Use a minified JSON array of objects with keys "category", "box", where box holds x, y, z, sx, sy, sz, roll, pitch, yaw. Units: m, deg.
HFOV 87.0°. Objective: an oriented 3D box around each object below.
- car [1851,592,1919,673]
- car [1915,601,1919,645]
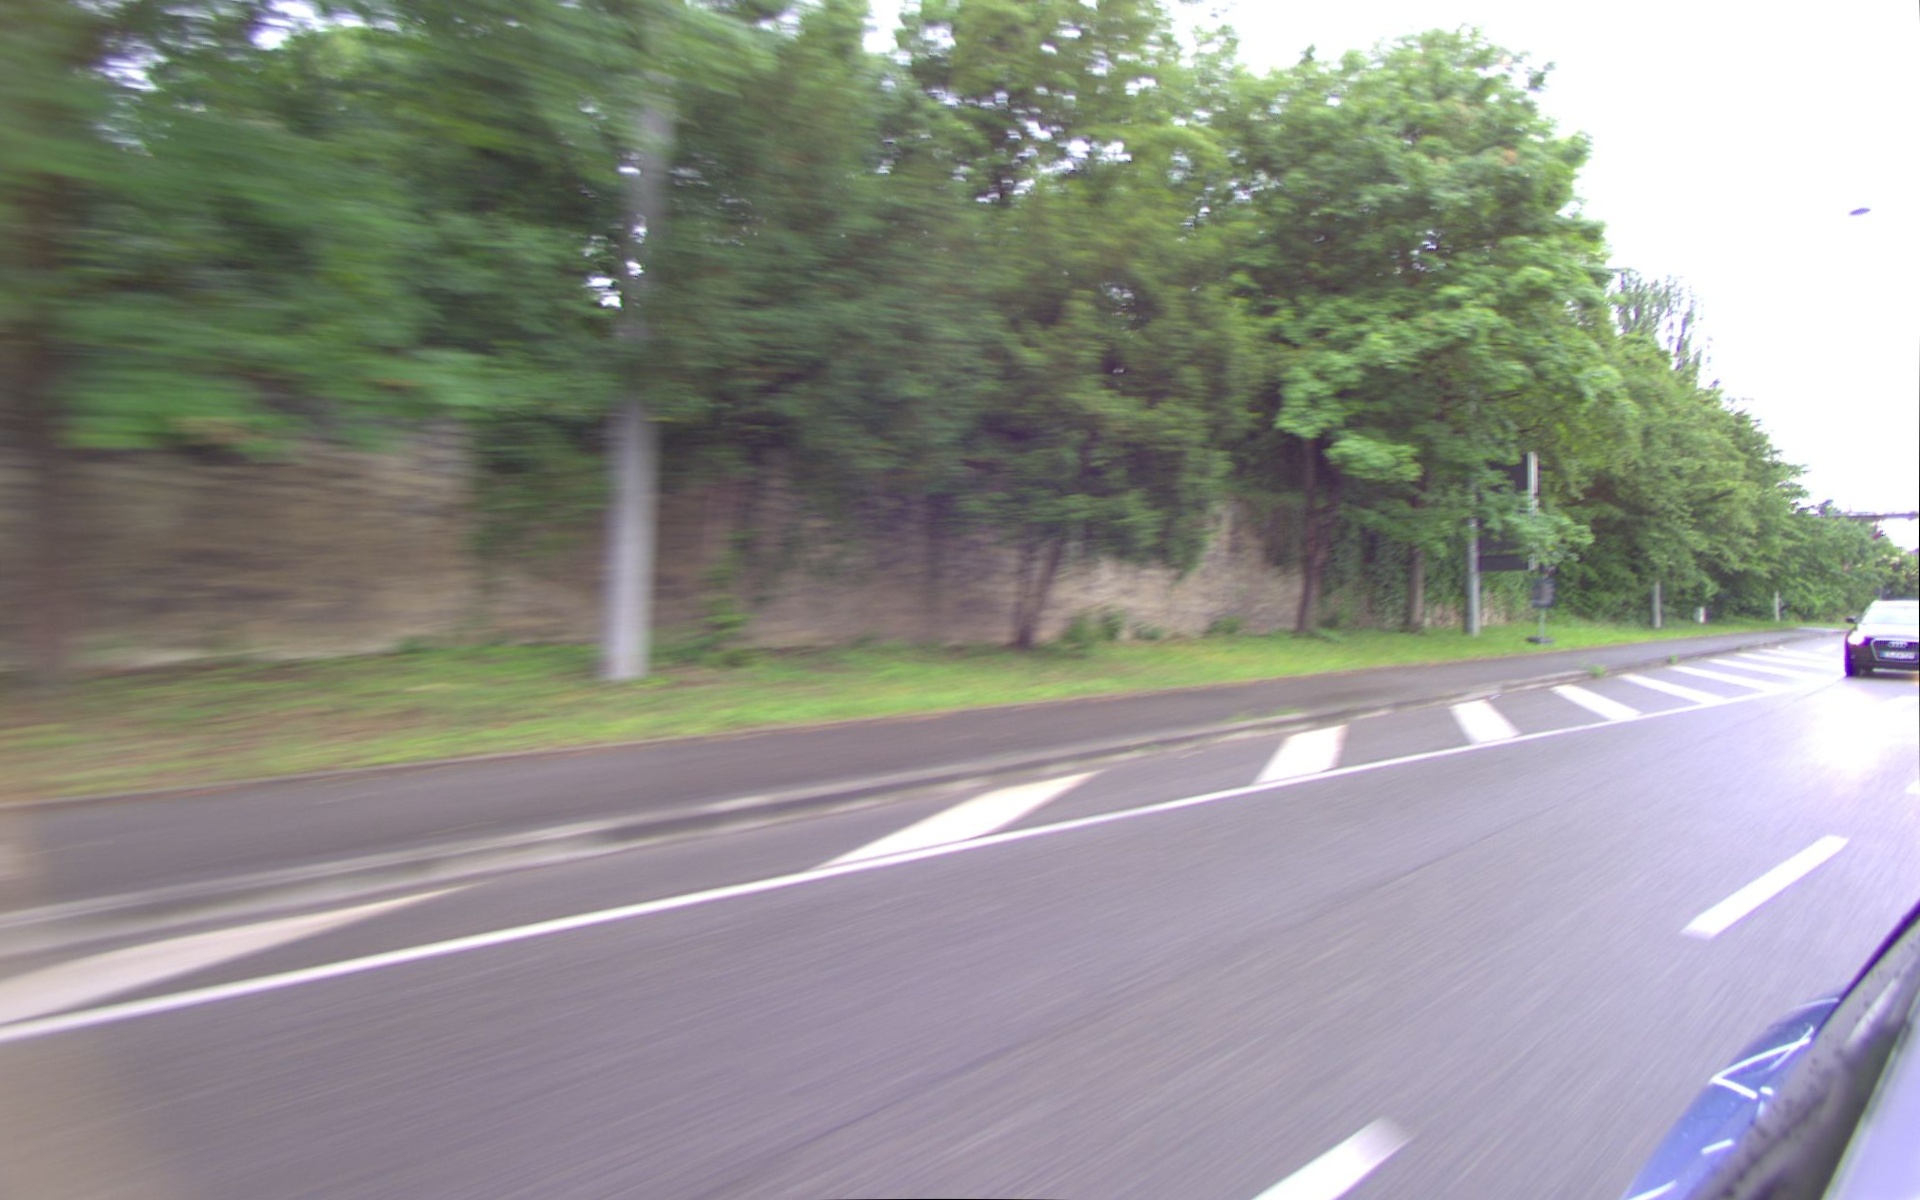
[{"category":"car","box":[20.800,0.648,21.911,4.208,1.621,1.924,0,1,-44]},{"category":"car","box":[32.640,0.744,32.942,3.929,1.403,1.844,1,-1,-41]}]
